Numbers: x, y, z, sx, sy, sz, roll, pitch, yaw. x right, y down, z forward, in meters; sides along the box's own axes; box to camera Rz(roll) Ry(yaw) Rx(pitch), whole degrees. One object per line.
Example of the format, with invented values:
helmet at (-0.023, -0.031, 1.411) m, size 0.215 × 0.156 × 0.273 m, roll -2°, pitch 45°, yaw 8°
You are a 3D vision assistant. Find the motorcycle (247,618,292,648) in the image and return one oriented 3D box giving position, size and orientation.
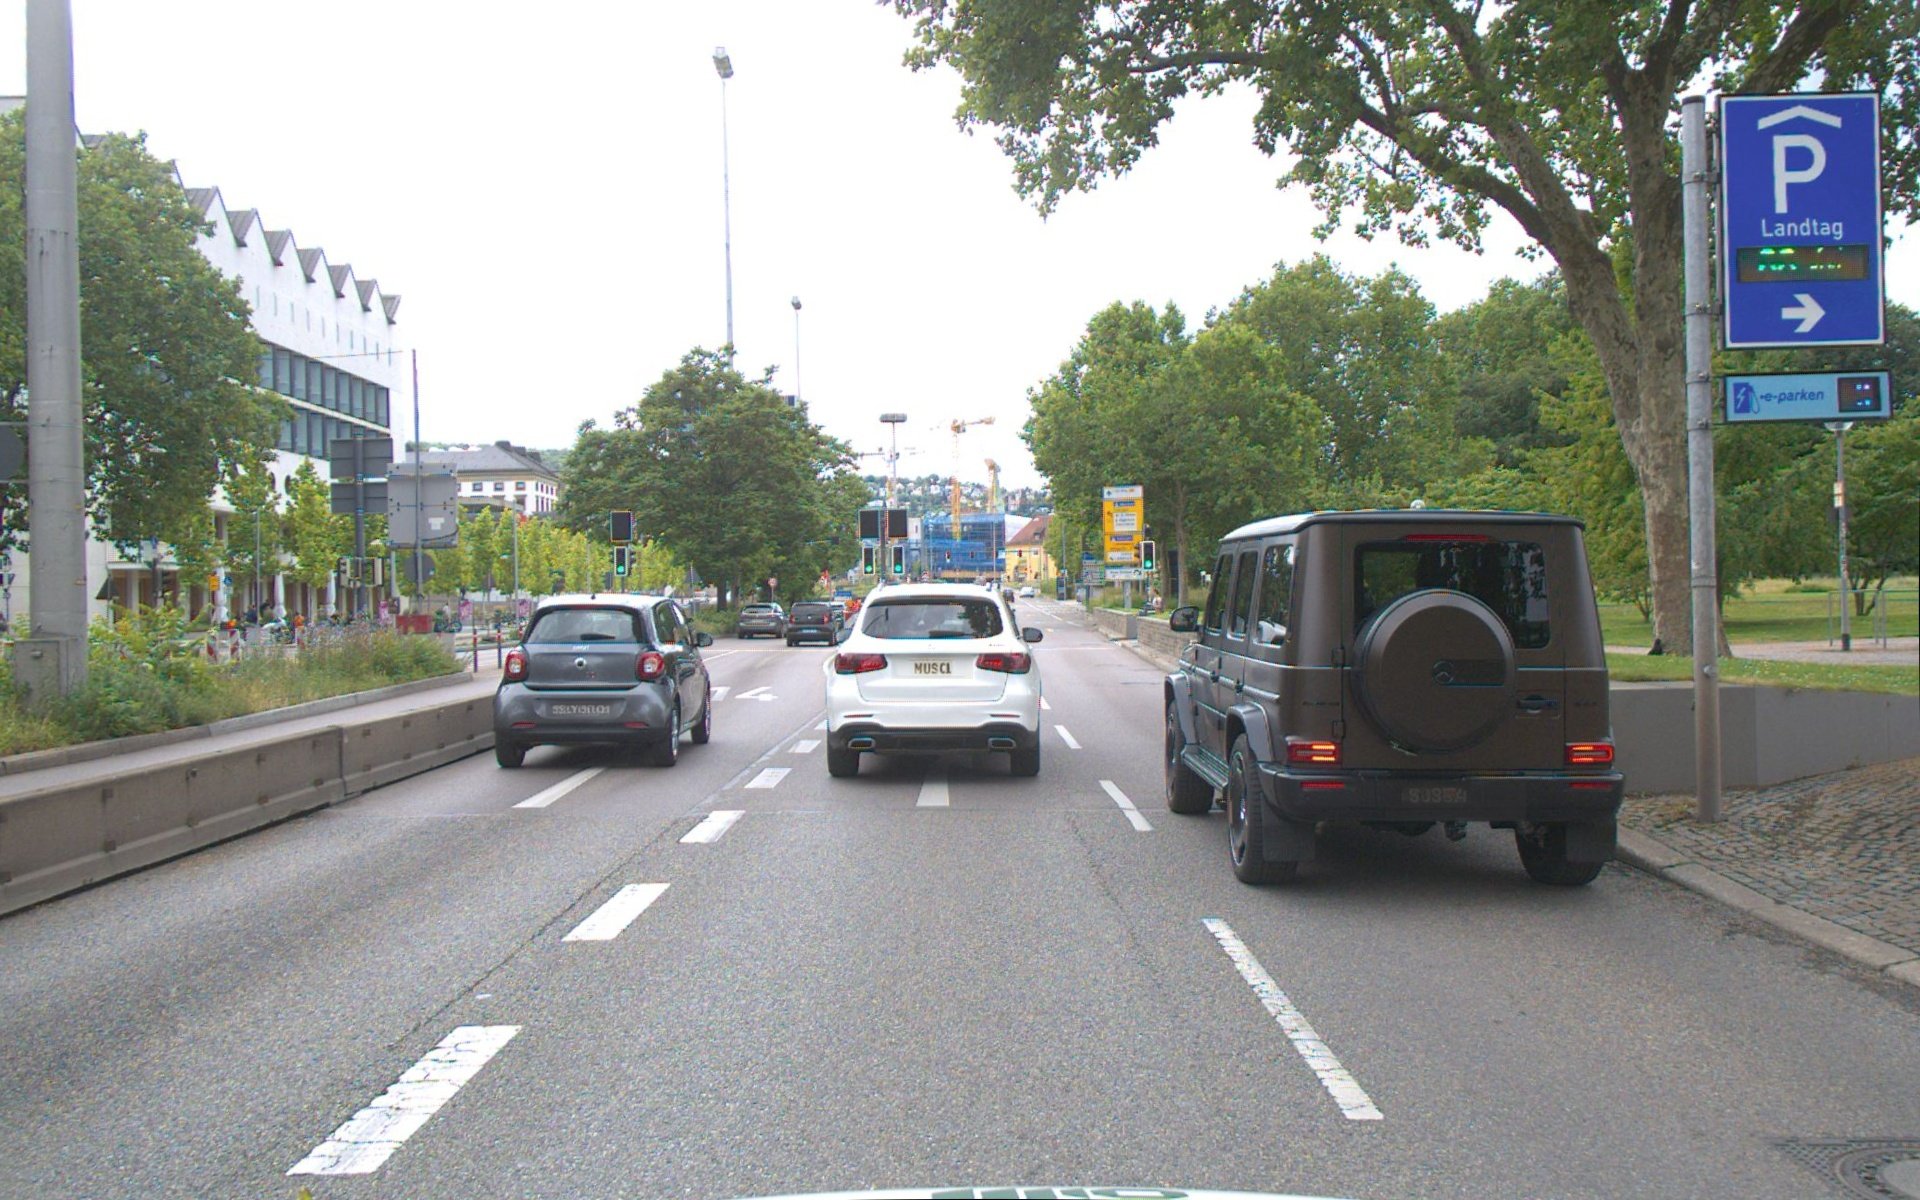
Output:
motorcycle at (-31.260, 1.497, 74.872) m, size 1.860 × 1.255 × 0.653 m, roll -1°, pitch -2°, yaw -26°

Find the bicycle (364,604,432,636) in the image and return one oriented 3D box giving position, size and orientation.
bicycle at (-32.426, 1.125, 95.523) m, size 3.549 × 1.713 × 1.179 m, roll -2°, pitch 0°, yaw -11°

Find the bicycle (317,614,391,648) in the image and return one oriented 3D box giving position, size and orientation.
bicycle at (-32.920, 1.681, 89.912) m, size 3.540 × 1.713 × 1.182 m, roll -2°, pitch 0°, yaw -2°

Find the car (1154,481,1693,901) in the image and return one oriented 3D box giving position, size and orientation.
car at (2.445, 0.454, 10.072) m, size 1.937 × 1.926 × 4.706 m, roll 1°, pitch -1°, yaw 0°

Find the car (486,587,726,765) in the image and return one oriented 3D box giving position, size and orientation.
car at (-3.322, 0.682, 16.115) m, size 1.594 × 1.535 × 3.539 m, roll 0°, pitch -1°, yaw -1°

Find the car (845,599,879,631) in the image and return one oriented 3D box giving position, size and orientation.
car at (-5.158, 0.754, 86.797) m, size 1.685 × 1.612 × 3.997 m, roll 1°, pitch 0°, yaw -4°

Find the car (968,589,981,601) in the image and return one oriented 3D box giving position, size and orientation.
car at (2.014, -0.694, 228.908) m, size 1.684 × 1.612 × 3.998 m, roll 1°, pitch 0°, yaw -2°

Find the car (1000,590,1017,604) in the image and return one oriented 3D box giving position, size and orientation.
car at (5.785, -0.316, 197.186) m, size 1.684 × 1.612 × 3.998 m, roll 1°, pitch 0°, yaw -2°

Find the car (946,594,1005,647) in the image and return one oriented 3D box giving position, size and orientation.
car at (0.454, 0.624, 52.834) m, size 1.684 × 1.612 × 3.998 m, roll 1°, pitch 0°, yaw -2°

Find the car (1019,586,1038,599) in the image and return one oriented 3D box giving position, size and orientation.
car at (9.207, -0.973, 222.429) m, size 1.955 × 1.646 × 3.995 m, roll 1°, pitch -1°, yaw -5°

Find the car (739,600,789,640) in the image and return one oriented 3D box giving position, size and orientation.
car at (-8.206, 0.812, 69.467) m, size 1.718 × 1.581 × 3.999 m, roll 1°, pitch 0°, yaw -2°

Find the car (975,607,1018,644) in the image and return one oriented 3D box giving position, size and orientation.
car at (1.648, 1.149, 75.630) m, size 1.684 × 1.612 × 3.998 m, roll 1°, pitch 0°, yaw -2°

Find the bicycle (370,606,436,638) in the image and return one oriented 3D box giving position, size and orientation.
bicycle at (-32.802, 1.298, 97.469) m, size 3.549 × 1.713 × 1.179 m, roll -2°, pitch 0°, yaw -11°

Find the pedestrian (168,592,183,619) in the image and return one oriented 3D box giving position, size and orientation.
pedestrian at (-41.498, 0.294, 87.507) m, size 0.508 × 1.350 × 0.565 m, roll -2°, pitch -2°, yaw 0°

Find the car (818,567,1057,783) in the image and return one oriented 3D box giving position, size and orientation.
car at (-0.214, 0.630, 15.353) m, size 1.901 × 1.713 × 3.999 m, roll 1°, pitch -1°, yaw -1°

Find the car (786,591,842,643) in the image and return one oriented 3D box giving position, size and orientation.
car at (-4.973, 0.567, 56.667) m, size 1.684 × 1.708 × 3.998 m, roll 1°, pitch 0°, yaw -2°

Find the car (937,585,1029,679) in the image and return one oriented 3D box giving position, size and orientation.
car at (0.421, 0.614, 31.826) m, size 1.638 × 1.656 × 3.999 m, roll 1°, pitch -1°, yaw 0°

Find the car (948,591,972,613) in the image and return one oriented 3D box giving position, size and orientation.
car at (-0.019, 0.160, 140.139) m, size 1.952 × 1.787 × 4.000 m, roll 1°, pitch -1°, yaw 1°

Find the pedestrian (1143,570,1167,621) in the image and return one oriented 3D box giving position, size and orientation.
pedestrian at (6.574, -0.153, 55.759) m, size 0.683 × 1.685 × 0.683 m, roll 1°, pitch -1°, yaw -1°

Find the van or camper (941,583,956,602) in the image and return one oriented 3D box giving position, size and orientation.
van or camper at (-1.509, -0.915, 215.113) m, size 1.883 × 2.360 × 3.998 m, roll 0°, pitch -2°, yaw -1°

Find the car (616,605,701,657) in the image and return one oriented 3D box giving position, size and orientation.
car at (-8.130, 0.813, 44.935) m, size 1.684 × 1.315 × 3.998 m, roll 1°, pitch 0°, yaw -2°

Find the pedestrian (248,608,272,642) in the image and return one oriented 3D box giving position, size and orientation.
pedestrian at (-32.733, 1.173, 77.349) m, size 0.876 × 1.584 × 0.589 m, roll -1°, pitch 0°, yaw -43°
